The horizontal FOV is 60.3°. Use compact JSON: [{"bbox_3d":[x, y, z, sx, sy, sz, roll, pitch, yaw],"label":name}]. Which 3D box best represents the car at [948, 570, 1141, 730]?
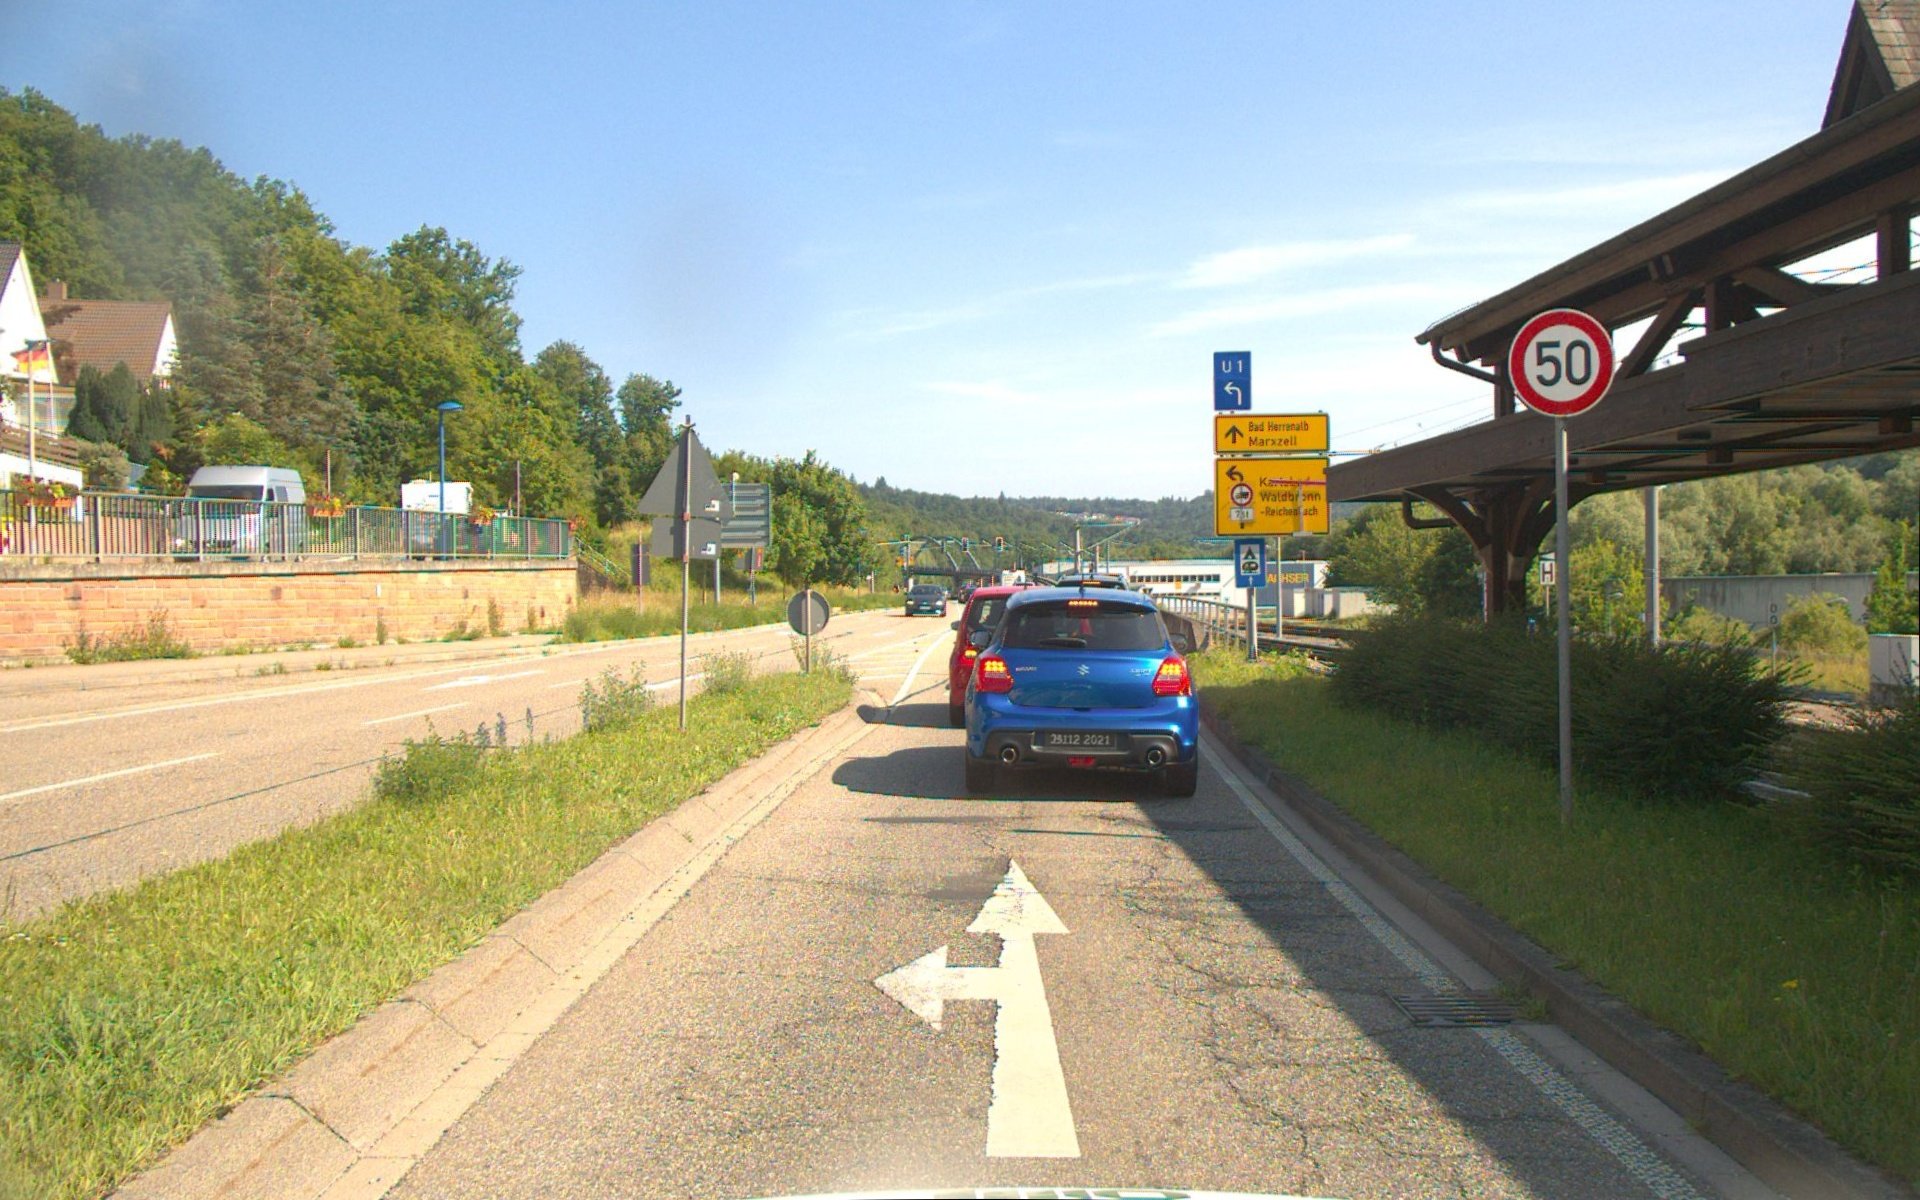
[{"bbox_3d":[0.982,0.502,19.077,1.952,1.598,4.002,1,0,3],"label":"car"}]

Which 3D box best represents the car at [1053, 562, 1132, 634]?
[{"bbox_3d":[3.512,-0.084,44.309,1.952,1.766,4.002,2,1,3],"label":"car"}]

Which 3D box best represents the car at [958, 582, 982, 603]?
[{"bbox_3d":[0.894,-0.694,146.764,1.952,1.814,4.001,2,0,2],"label":"car"}]

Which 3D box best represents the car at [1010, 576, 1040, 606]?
[{"bbox_3d":[4.442,-0.644,114.131,1.952,1.848,4.002,2,2,2],"label":"car"}]

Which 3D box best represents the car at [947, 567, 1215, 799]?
[{"bbox_3d":[0.870,0.547,13.406,1.830,1.575,4.001,1,1,1],"label":"car"}]

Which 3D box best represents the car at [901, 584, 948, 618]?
[{"bbox_3d":[-1.653,0.022,78.262,1.754,1.496,4.719,1,1,4],"label":"car"}]

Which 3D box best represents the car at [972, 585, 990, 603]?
[{"bbox_3d":[2.505,-0.726,196.350,1.953,2.049,3.999,1,1,-2],"label":"car"}]

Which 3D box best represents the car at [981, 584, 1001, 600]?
[{"bbox_3d":[3.163,-0.827,168.489,1.952,1.619,4.001,2,1,1],"label":"car"}]

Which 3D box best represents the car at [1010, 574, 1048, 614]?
[{"bbox_3d":[3.770,-0.355,91.141,1.952,2.048,4.002,2,2,2],"label":"car"}]

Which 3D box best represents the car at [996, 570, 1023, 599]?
[{"bbox_3d":[3.836,-1.203,128.165,1.952,2.181,4.721,2,0,2],"label":"car"}]

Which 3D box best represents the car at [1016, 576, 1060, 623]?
[{"bbox_3d":[3.701,-0.065,79.077,1.952,2.048,4.002,2,2,2],"label":"car"}]

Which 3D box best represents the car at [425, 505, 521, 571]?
[{"bbox_3d":[-15.432,-1.964,52.666,1.981,1.953,4.727,2,2,-5],"label":"car"}]

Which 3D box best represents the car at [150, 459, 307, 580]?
[{"bbox_3d":[-16.593,-1.807,37.849,2.056,2.486,5.769,2,2,-12],"label":"car"}]

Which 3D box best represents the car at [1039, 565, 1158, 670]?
[{"bbox_3d":[2.484,0.269,30.392,1.952,1.716,4.499,2,1,3],"label":"car"}]

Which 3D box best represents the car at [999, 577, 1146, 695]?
[{"bbox_3d":[1.629,0.452,24.329,1.952,1.558,4.604,0,1,3],"label":"car"}]
